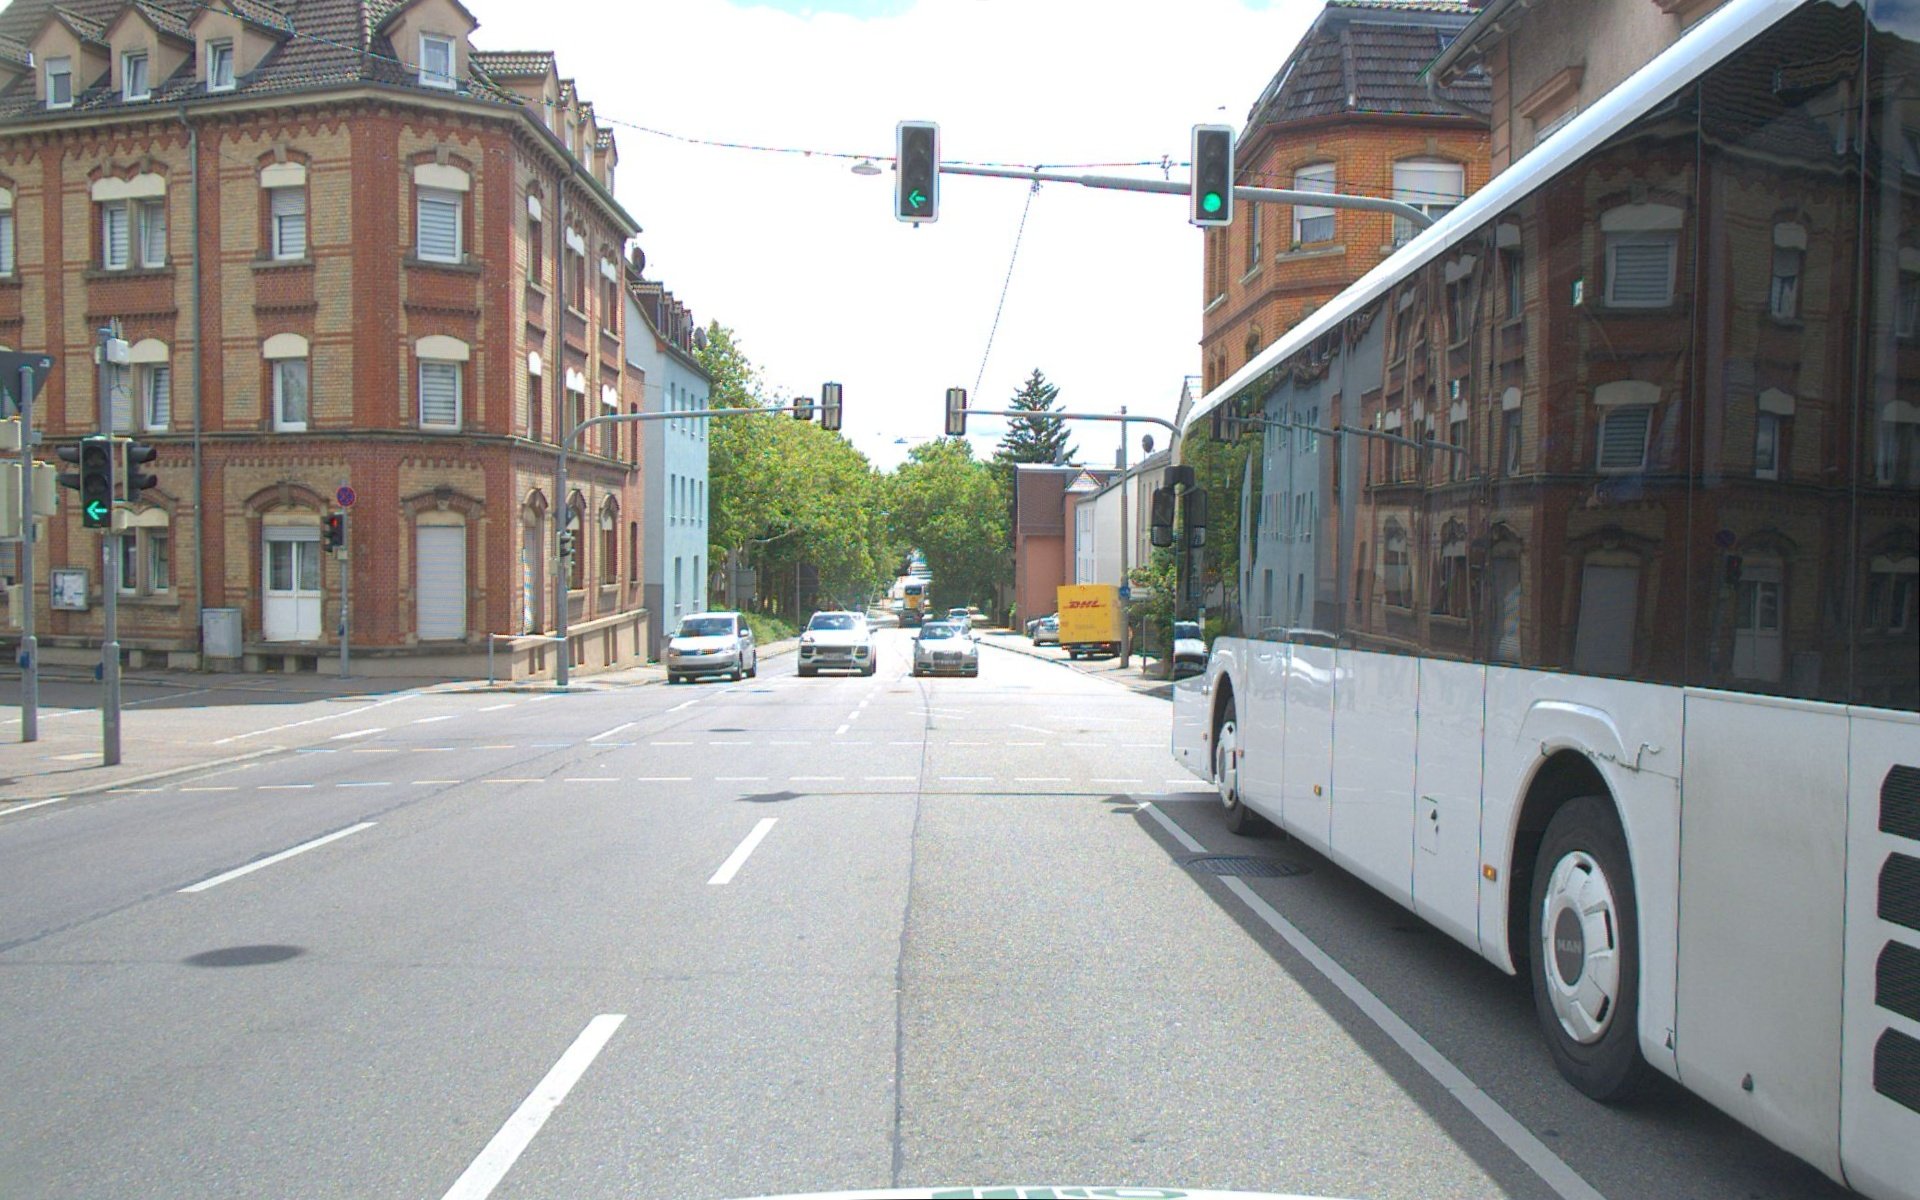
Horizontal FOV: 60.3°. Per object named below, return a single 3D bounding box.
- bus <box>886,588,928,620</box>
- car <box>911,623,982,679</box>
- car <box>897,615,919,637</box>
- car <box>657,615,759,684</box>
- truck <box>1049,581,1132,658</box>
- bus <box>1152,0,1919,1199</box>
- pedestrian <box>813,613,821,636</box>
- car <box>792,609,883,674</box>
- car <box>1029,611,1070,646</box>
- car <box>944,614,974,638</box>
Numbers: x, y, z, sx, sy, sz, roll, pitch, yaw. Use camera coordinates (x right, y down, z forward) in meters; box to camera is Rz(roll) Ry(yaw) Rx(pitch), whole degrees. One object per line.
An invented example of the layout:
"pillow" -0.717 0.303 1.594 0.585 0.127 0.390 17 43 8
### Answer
"bus" -6.432 0.553 197.259 3.241 3.694 11.213 0 0 -11
"car" -0.377 1.352 44.908 1.827 1.391 4.546 0 0 -1
"car" -4.315 2.172 137.959 1.782 1.816 3.999 0 0 -1
"car" -6.180 1.175 41.028 1.896 1.591 4.388 0 0 -1
"truck" 5.420 0.813 67.613 2.487 2.964 6.577 1 -1 12
"bus" 3.219 -0.119 8.257 2.845 3.572 12.484 1 -1 -1
"pedestrian" -11.647 1.999 134.909 0.594 1.789 0.653 0 -1 -2
"car" -3.249 1.070 44.616 2.162 1.641 4.546 0 0 -1
"car" 4.922 1.560 91.330 1.872 1.848 3.997 0 -1 -3
"car" -0.116 1.986 127.813 2.050 1.862 4.139 0 0 -4
